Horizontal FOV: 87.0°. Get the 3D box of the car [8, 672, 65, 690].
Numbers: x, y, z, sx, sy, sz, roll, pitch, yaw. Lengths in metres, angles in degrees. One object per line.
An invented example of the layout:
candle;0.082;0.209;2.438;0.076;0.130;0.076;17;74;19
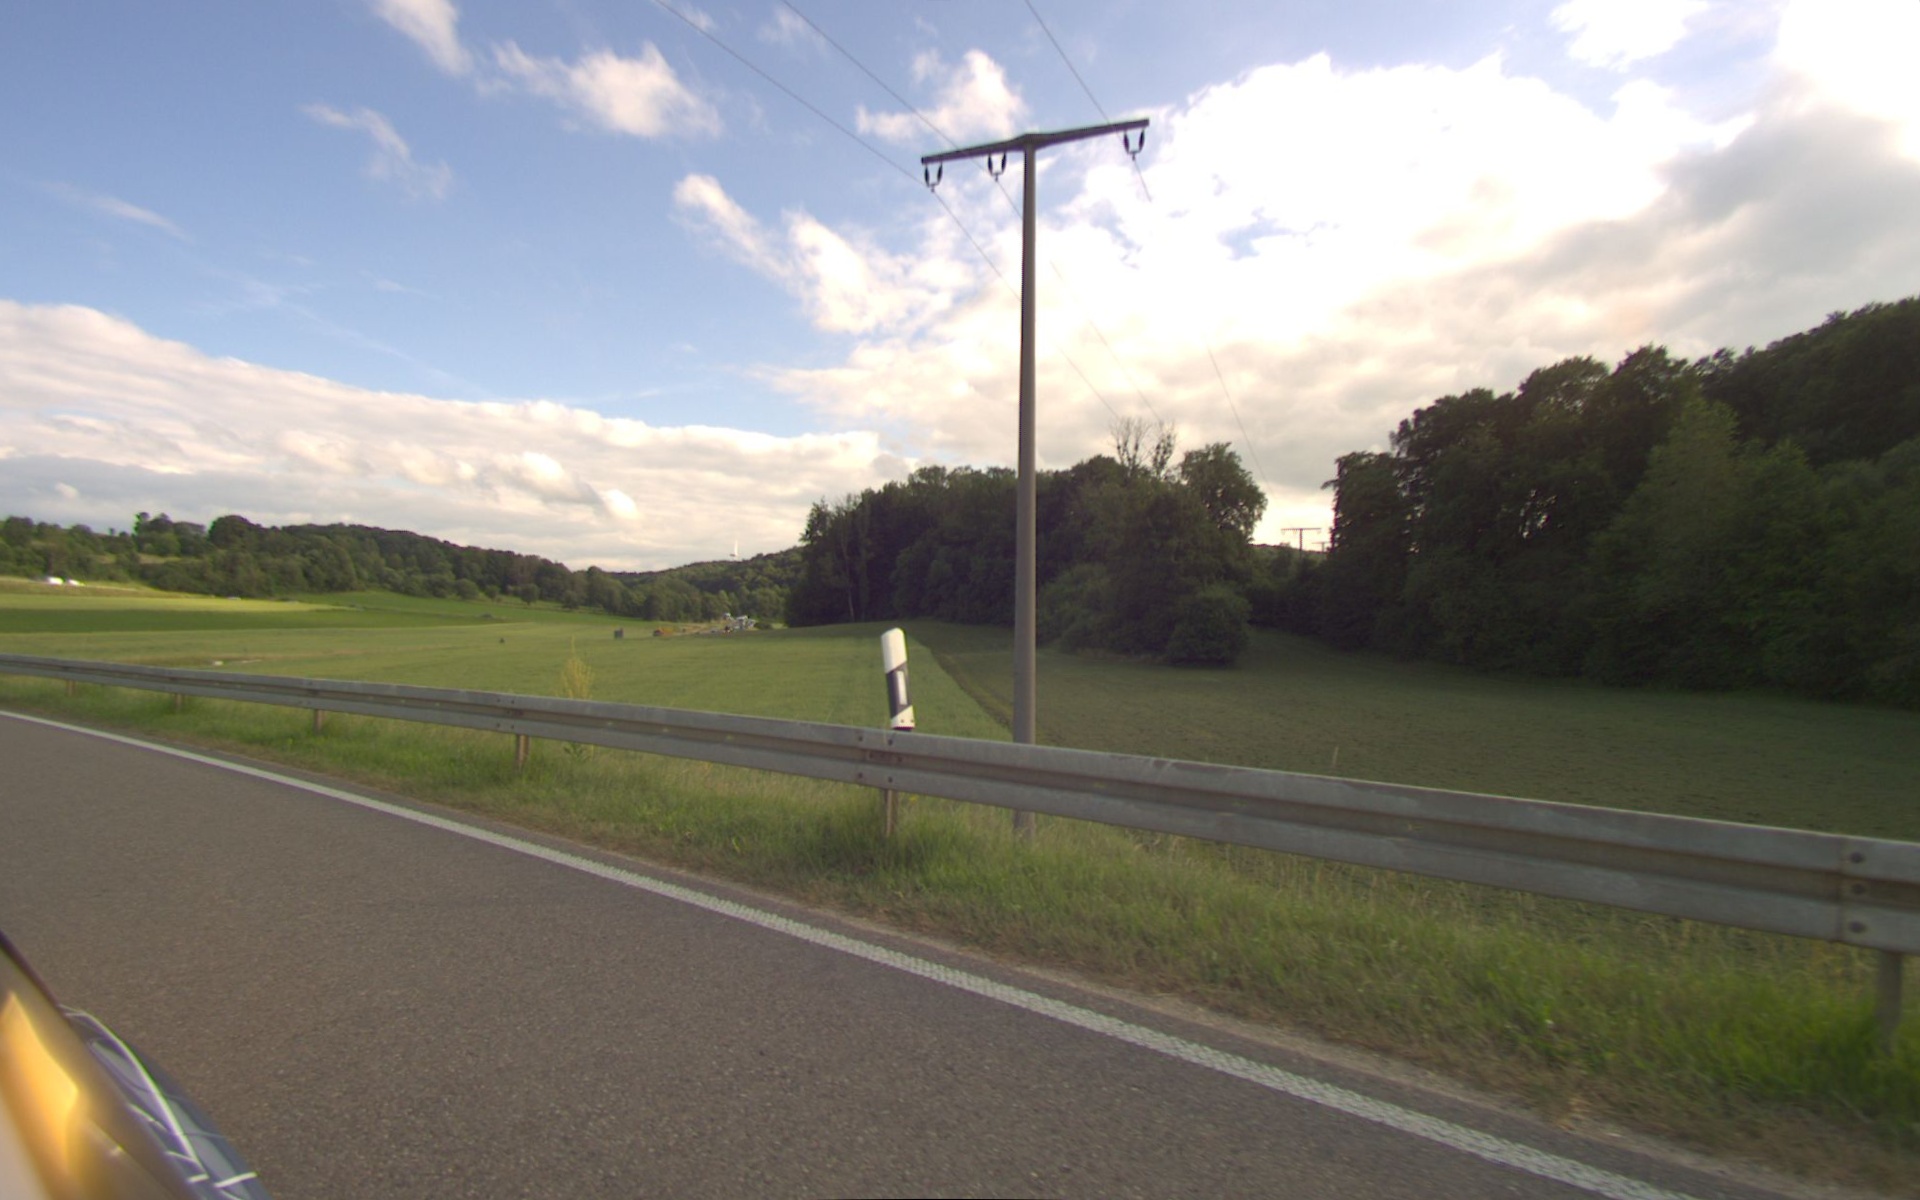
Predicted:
car;-94.746;8.299;103.906;1.808;1.662;3.987;1;-2;10
